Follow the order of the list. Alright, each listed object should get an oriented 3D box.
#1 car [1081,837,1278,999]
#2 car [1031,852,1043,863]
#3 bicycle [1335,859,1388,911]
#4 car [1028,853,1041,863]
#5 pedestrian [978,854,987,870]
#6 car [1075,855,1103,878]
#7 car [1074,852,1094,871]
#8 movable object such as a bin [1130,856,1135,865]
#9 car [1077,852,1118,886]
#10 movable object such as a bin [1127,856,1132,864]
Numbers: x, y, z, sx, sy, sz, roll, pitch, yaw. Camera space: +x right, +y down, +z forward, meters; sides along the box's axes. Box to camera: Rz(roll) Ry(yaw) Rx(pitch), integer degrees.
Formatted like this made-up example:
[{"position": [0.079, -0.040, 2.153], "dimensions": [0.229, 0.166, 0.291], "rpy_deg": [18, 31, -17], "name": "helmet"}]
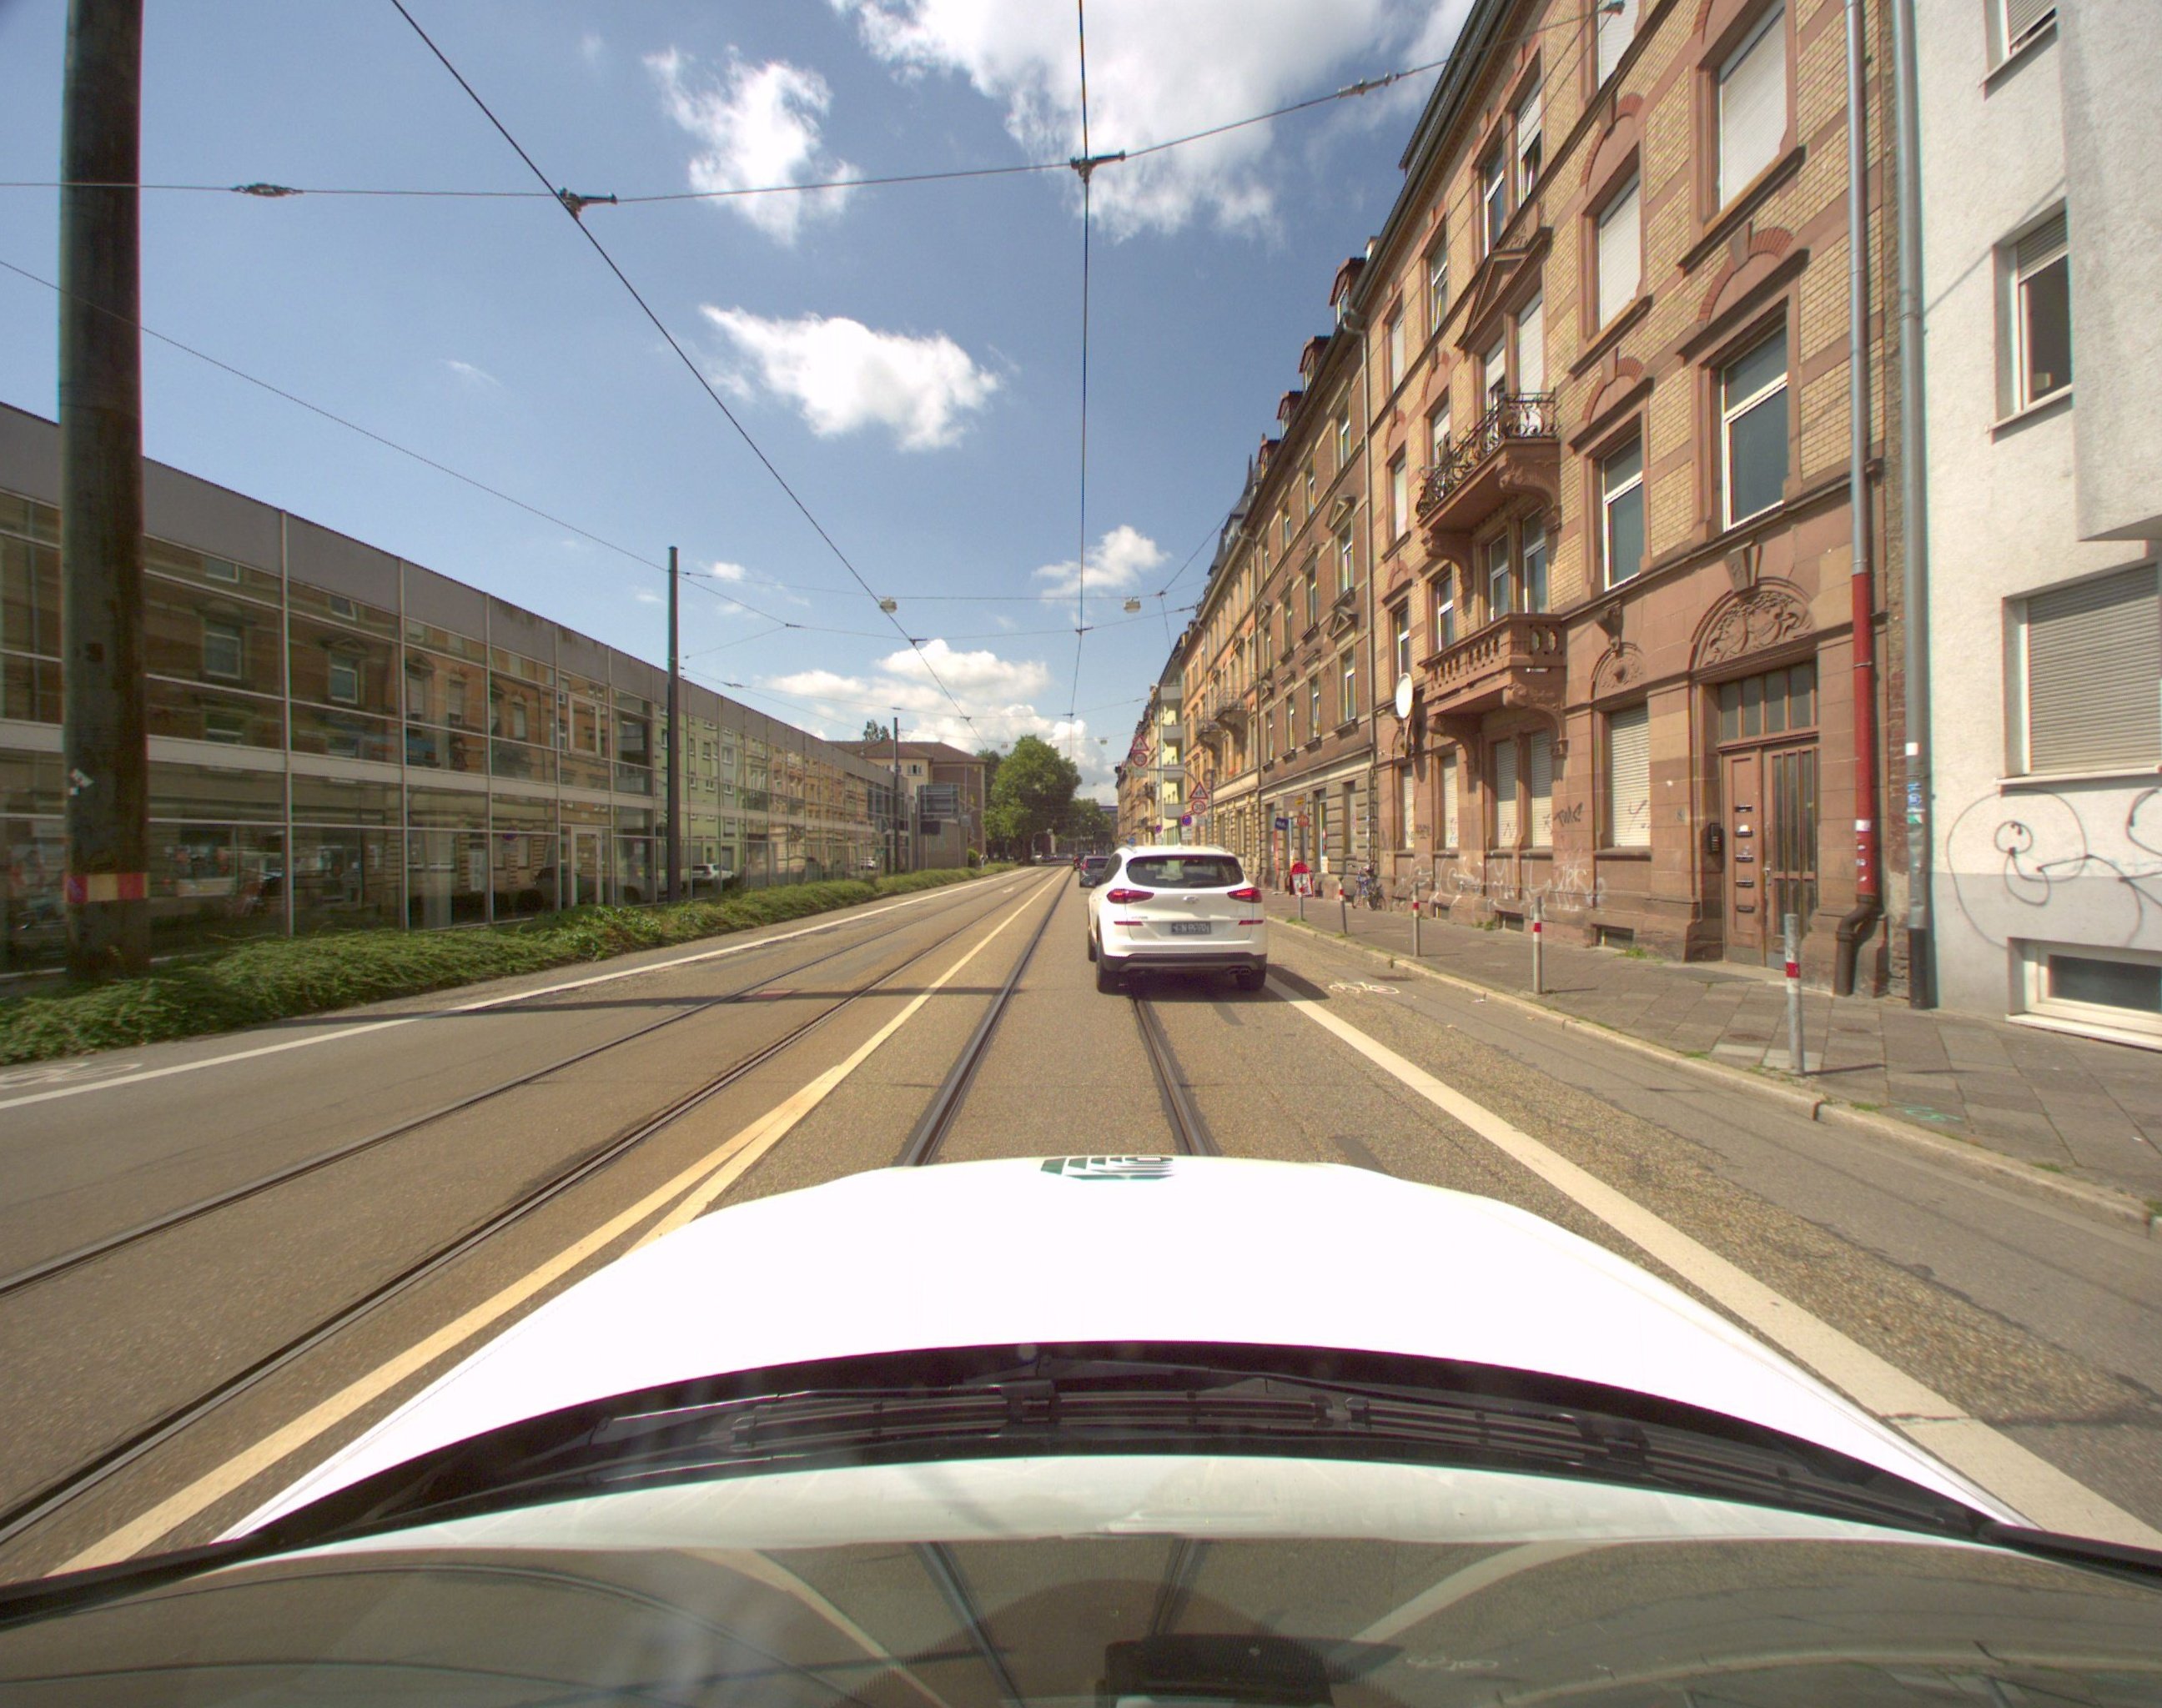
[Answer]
[{"position": [1.013, 0.654, 10.392], "dimensions": [1.847, 1.634, 4.177], "rpy_deg": [0, 0, -2], "name": "car"}, {"position": [-7.759, 0.658, 144.807], "dimensions": [1.944, 1.895, 4.564], "rpy_deg": [0, 0, 0], "name": "car"}, {"position": [6.935, 0.738, 20.251], "dimensions": [0.584, 1.178, 2.205], "rpy_deg": [-1, 0, 1], "name": "bicycle"}, {"position": [-7.898, 0.697, 138.841], "dimensions": [1.944, 1.632, 4.575], "rpy_deg": [0, 0, 0], "name": "car"}, {"position": [-12.138, 0.995, 100.201], "dimensions": [0.877, 1.865, 1.081], "rpy_deg": [-2, 0, 0], "name": "pedestrian"}, {"position": [0.537, 0.828, 56.607], "dimensions": [1.809, 1.524, 3.955], "rpy_deg": [-1, 0, 0], "name": "car"}, {"position": [0.255, 0.686, 76.052], "dimensions": [1.809, 1.661, 4.084], "rpy_deg": [-1, 0, 0], "name": "car"}, {"position": [6.857, 0.862, 109.012], "dimensions": [0.611, 1.143, 0.638], "rpy_deg": [0, 0, 0], "name": "movable object such as a bin"}, {"position": [0.856, 0.703, 39.241], "dimensions": [1.807, 1.524, 4.088], "rpy_deg": [-1, 0, 3], "name": "car"}, {"position": [6.598, 0.776, 110.441], "dimensions": [0.611, 1.143, 0.638], "rpy_deg": [0, 0, 0], "name": "movable object such as a bin"}]
